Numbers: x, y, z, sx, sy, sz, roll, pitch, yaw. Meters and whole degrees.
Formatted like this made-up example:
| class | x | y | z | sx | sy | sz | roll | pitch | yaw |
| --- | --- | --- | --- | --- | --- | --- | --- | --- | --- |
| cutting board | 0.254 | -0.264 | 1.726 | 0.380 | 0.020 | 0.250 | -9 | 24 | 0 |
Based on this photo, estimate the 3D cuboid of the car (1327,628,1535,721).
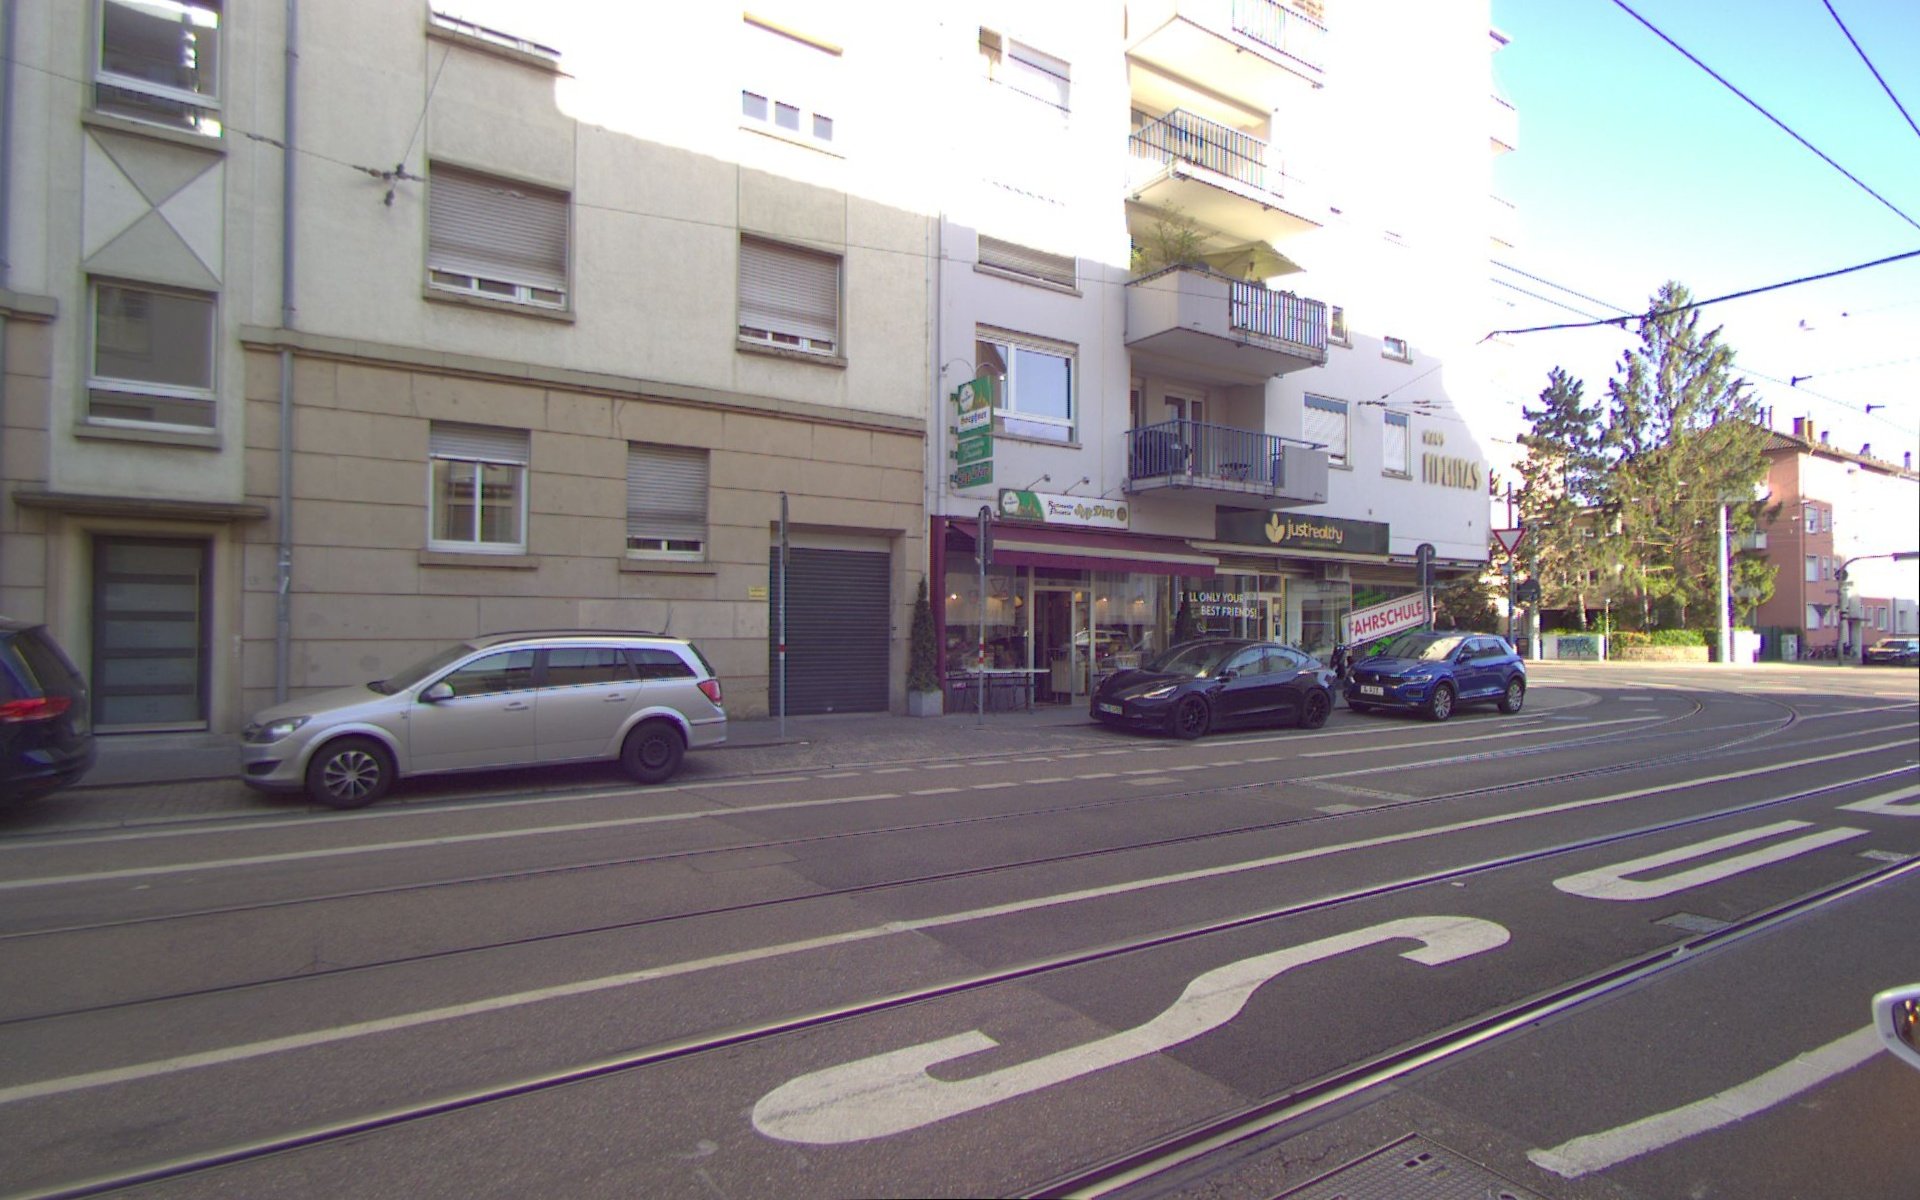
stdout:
| class | x | y | z | sx | sy | sz | roll | pitch | yaw |
| --- | --- | --- | --- | --- | --- | --- | --- | --- | --- |
| car | 8.994 | 1.345 | 19.090 | 4.072 | 1.525 | 1.714 | 1 | 1 | -34 |

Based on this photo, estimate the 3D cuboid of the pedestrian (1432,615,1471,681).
| class | x | y | z | sx | sy | sz | roll | pitch | yaw |
| --- | --- | --- | --- | --- | --- | --- | --- | --- | --- |
| pedestrian | 14.013 | 1.353 | 28.678 | 0.707 | 1.859 | 0.771 | 0 | -1 | -3 |

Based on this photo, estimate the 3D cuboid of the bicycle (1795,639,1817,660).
| class | x | y | z | sx | sy | sz | roll | pitch | yaw |
| --- | --- | --- | --- | --- | --- | --- | --- | --- | --- |
| bicycle | 46.885 | 2.728 | 55.639 | 1.895 | 1.097 | 0.634 | 2 | -2 | -41 |

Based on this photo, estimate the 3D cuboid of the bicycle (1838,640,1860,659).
| class | x | y | z | sx | sy | sz | roll | pitch | yaw |
| --- | --- | --- | --- | --- | --- | --- | --- | --- | --- |
| bicycle | 53.160 | 2.942 | 60.032 | 1.892 | 1.097 | 0.605 | 1 | -2 | -37 |

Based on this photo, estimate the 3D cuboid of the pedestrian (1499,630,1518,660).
| class | x | y | z | sx | sy | sz | roll | pitch | yaw |
| --- | --- | --- | --- | --- | --- | --- | --- | --- | --- |
| pedestrian | 31.525 | 2.565 | 57.700 | 0.800 | 1.725 | 0.676 | -1 | -2 | 44 |

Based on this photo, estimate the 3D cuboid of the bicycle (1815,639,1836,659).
| class | x | y | z | sx | sy | sz | roll | pitch | yaw |
| --- | --- | --- | --- | --- | --- | --- | --- | --- | --- |
| bicycle | 50.744 | 2.864 | 58.887 | 1.892 | 1.097 | 0.533 | 1 | -2 | -37 |

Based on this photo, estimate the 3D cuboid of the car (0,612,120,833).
| class | x | y | z | sx | sy | sz | roll | pitch | yaw |
| --- | --- | --- | --- | --- | --- | --- | --- | --- | --- |
| car | -8.992 | 0.878 | 7.197 | 4.343 | 1.620 | 1.785 | 1 | -1 | -34 |

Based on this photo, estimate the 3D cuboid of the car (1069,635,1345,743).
| class | x | y | z | sx | sy | sz | roll | pitch | yaw |
| --- | --- | --- | --- | --- | --- | --- | --- | --- | --- |
| car | 4.014 | 1.315 | 16.048 | 4.442 | 1.422 | 1.714 | 1 | 1 | -34 |

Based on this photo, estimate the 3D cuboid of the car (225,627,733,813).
| class | x | y | z | sx | sy | sz | roll | pitch | yaw |
| --- | --- | --- | --- | --- | --- | --- | --- | --- | --- |
| car | -4.705 | 1.048 | 10.219 | 4.343 | 1.497 | 1.785 | 1 | -1 | -34 |

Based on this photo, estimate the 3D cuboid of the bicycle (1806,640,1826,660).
| class | x | y | z | sx | sy | sz | roll | pitch | yaw |
| --- | --- | --- | --- | --- | --- | --- | --- | --- | --- |
| bicycle | 47.181 | 2.738 | 55.347 | 1.895 | 1.097 | 0.532 | 2 | -2 | -41 |

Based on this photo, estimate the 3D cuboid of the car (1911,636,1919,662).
| class | x | y | z | sx | sy | sz | roll | pitch | yaw |
| --- | --- | --- | --- | --- | --- | --- | --- | --- | --- |
| car | 58.130 | 2.901 | 59.458 | 3.961 | 1.539 | 1.938 | 1 | -2 | -36 |

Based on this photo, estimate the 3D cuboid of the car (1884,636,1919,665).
| class | x | y | z | sx | sy | sz | roll | pitch | yaw |
| --- | --- | --- | --- | --- | --- | --- | --- | --- | --- |
| car | 54.276 | 2.844 | 57.019 | 4.006 | 1.539 | 1.938 | 1 | -2 | -36 |

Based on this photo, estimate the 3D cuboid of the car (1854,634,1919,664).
| class | x | y | z | sx | sy | sz | roll | pitch | yaw |
| --- | --- | --- | --- | --- | --- | --- | --- | --- | --- |
| car | 49.728 | 2.620 | 53.789 | 3.961 | 1.539 | 1.938 | 1 | -2 | -36 |
